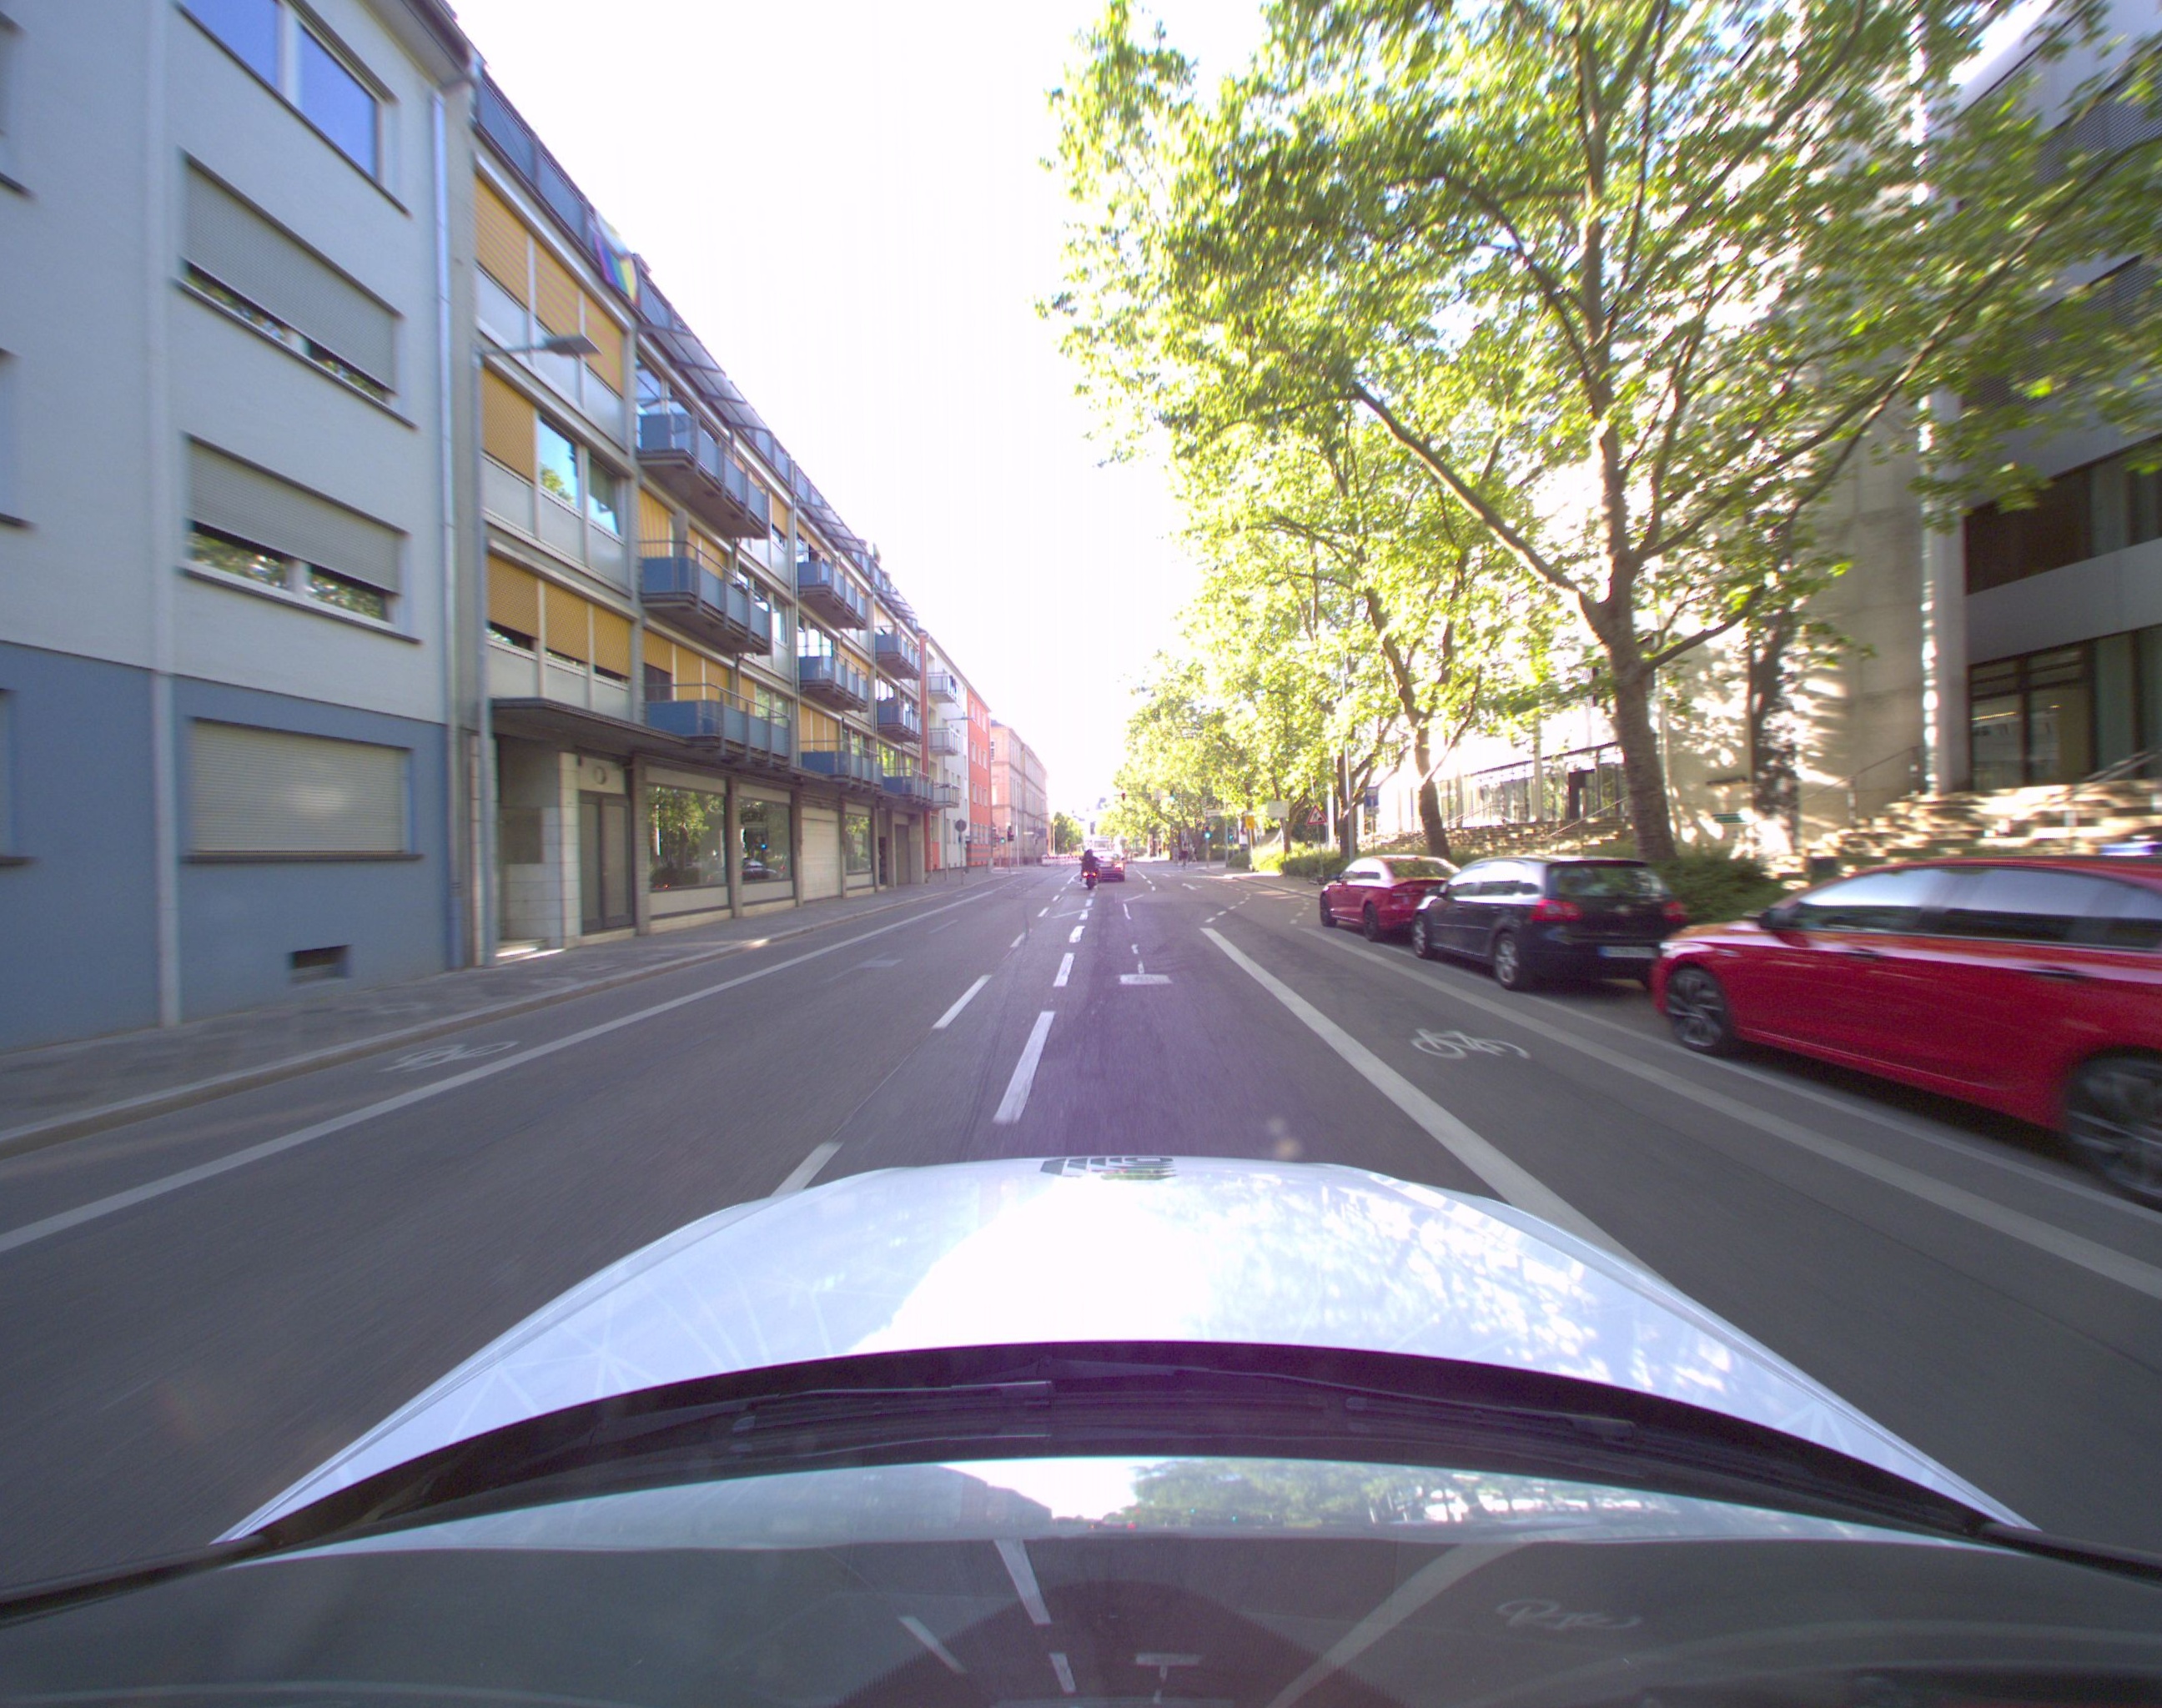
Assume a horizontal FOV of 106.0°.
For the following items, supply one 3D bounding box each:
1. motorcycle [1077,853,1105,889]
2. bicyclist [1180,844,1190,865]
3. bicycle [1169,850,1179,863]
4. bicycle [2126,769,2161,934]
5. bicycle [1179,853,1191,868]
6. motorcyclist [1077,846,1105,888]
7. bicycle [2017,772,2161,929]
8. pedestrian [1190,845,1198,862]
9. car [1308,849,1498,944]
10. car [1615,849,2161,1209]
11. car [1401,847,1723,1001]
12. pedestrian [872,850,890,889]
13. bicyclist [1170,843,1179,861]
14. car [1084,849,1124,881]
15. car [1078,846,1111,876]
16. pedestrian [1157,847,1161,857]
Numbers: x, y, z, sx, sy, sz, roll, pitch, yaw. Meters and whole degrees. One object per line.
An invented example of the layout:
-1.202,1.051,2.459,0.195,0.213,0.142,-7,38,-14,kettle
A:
0.417,0.640,32.327,1.008,1.306,2.673,-2,0,1,motorcycle
7.600,0.042,59.774,0.654,1.530,0.852,0,0,1,bicyclist
7.860,0.231,68.581,0.653,1.111,2.186,0,0,1,bicycle
14.406,-0.069,9.806,2.588,2.013,0.743,-2,0,1,bicycle
7.605,0.491,59.783,0.653,1.070,1.927,0,0,1,bicycle
0.407,0.495,32.299,1.008,1.602,1.406,-2,0,1,motorcyclist
14.374,-0.067,10.975,2.588,2.013,0.743,-2,0,1,bicycle
11.575,-0.059,83.324,0.574,1.774,0.619,0,0,-30,pedestrian
5.563,0.640,14.722,1.687,1.449,4.435,0,0,0,car
5.350,0.719,4.806,1.686,1.479,4.320,0,0,2,car
5.453,0.663,9.919,1.686,1.466,4.068,1,0,3,car
-8.137,0.628,33.150,0.511,1.579,0.756,-2,0,1,pedestrian
7.869,-0.152,68.631,0.654,1.530,0.906,0,0,1,bicyclist
1.123,0.486,39.436,1.822,1.420,3.816,-1,0,1,car
0.749,0.381,47.299,1.627,1.650,3.845,0,0,-4,car
11.843,-0.283,124.309,0.590,1.578,0.527,0,0,1,pedestrian
